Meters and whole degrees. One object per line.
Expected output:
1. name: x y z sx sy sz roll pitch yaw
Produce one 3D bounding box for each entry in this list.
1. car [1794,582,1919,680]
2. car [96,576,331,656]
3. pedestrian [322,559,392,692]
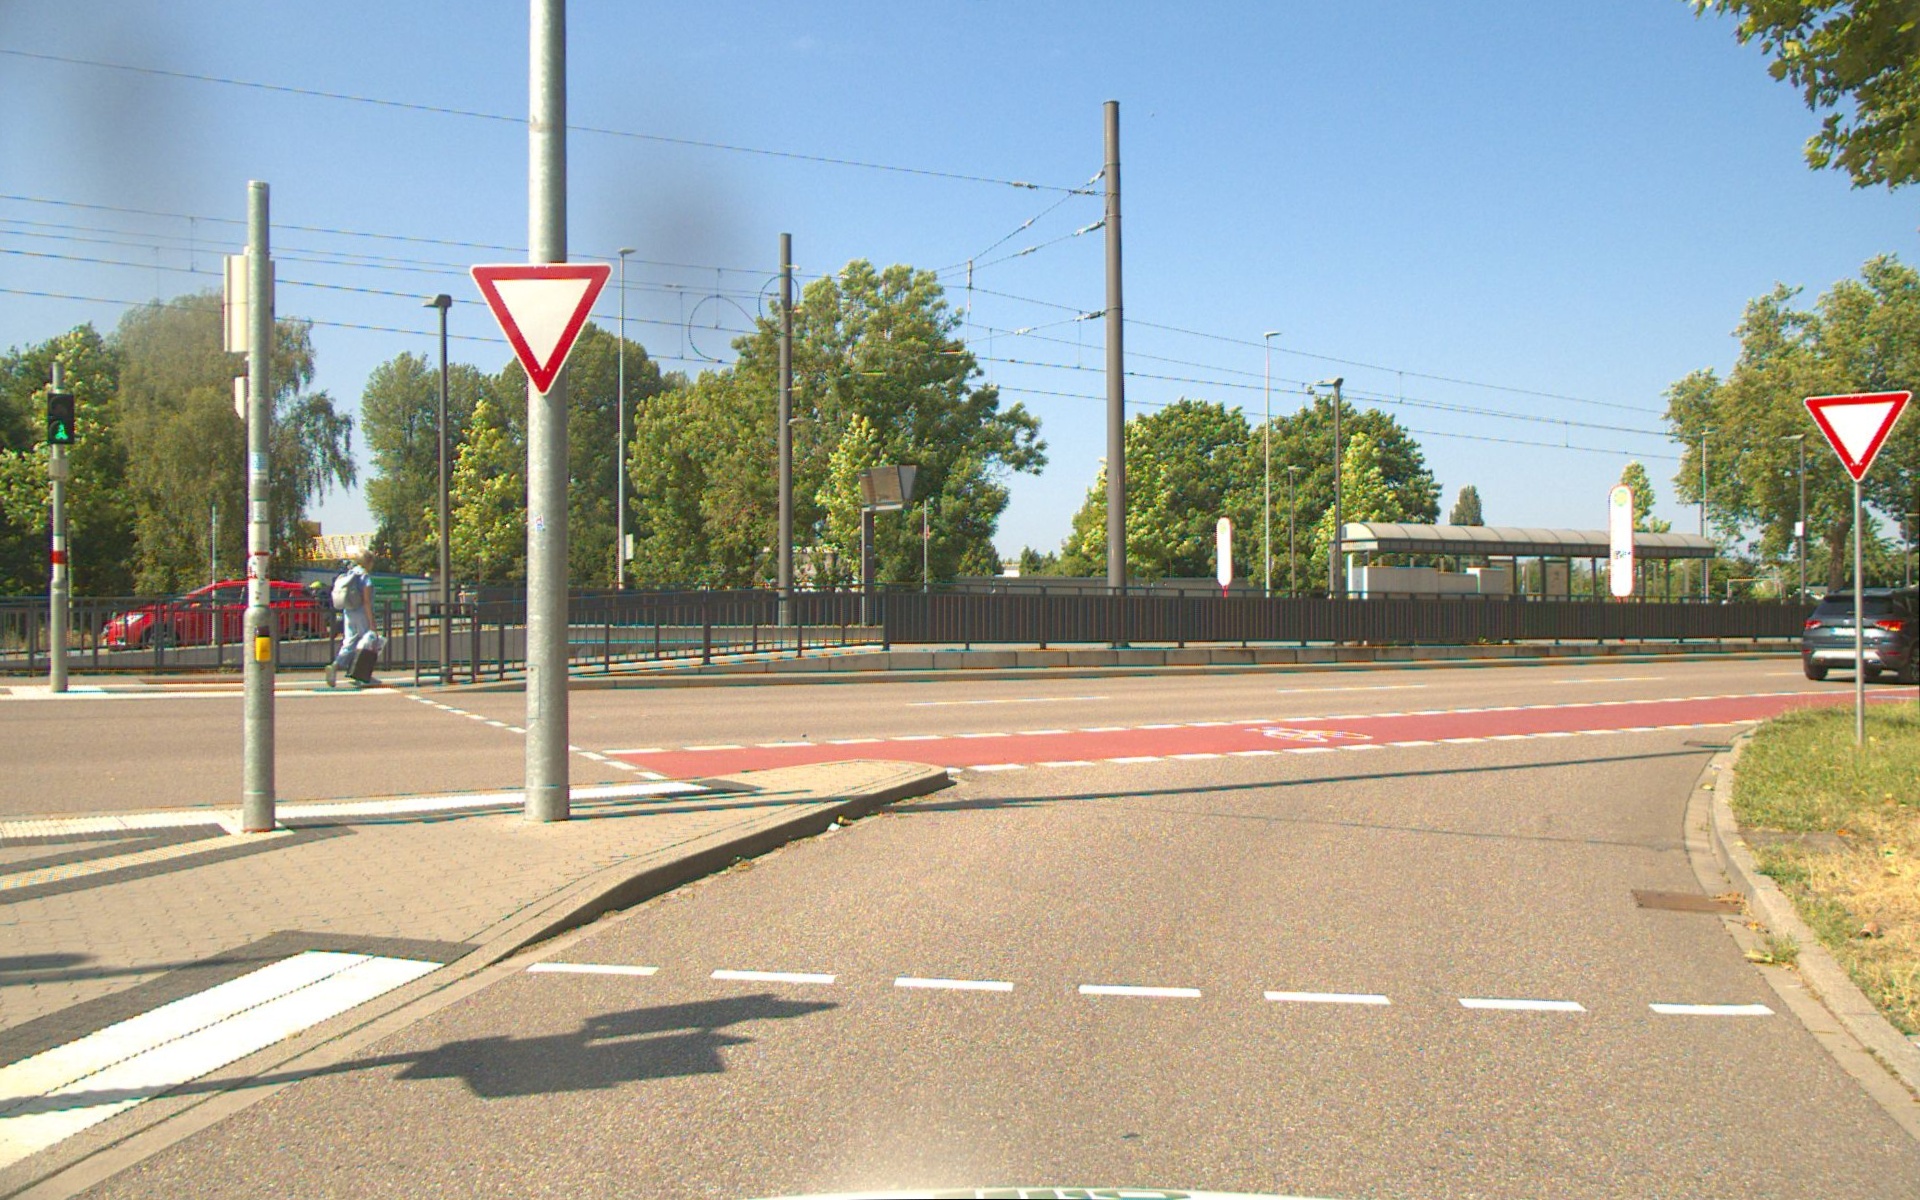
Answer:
1. car: 15.605 0.520 28.093 1.647 1.550 3.353 1 -1 44
2. car: -14.568 0.299 32.345 3.953 1.470 1.726 0 0 -35
3. pedestrian: -7.225 0.285 19.823 0.762 1.537 1.001 0 1 -21
